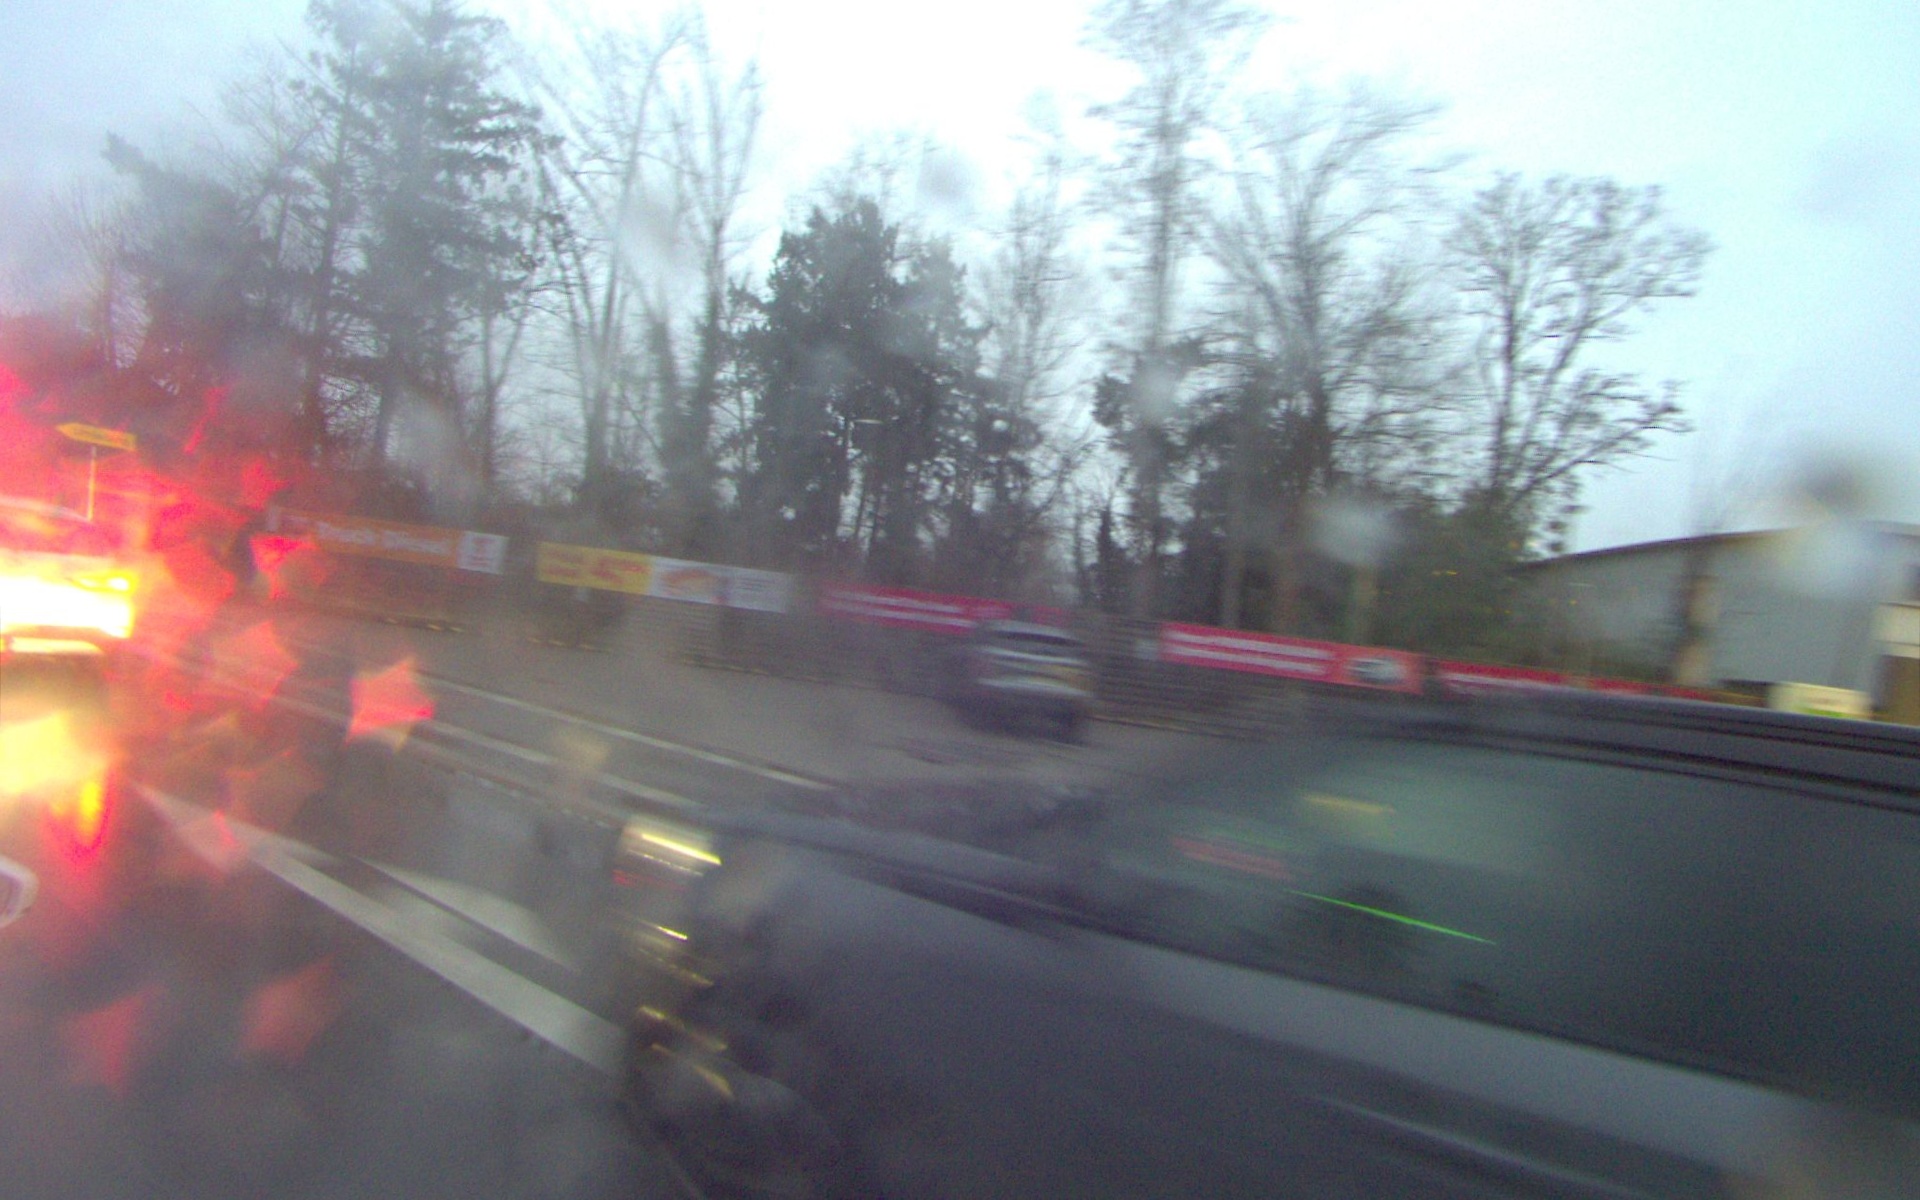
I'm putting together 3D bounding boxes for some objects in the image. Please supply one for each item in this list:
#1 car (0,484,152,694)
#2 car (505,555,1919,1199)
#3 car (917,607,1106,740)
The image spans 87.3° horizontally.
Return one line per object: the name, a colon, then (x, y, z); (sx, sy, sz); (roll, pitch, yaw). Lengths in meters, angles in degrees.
car: (-9.120, -0.286, 8.951); (4.393, 1.595, 1.709); (7, -1, 34)
car: (1.048, 0.917, 1.941); (3.943, 1.547, 1.567); (6, -1, 34)
car: (0.646, 1.057, 16.368); (1.986, 1.627, 4.476); (7, -1, -9)
